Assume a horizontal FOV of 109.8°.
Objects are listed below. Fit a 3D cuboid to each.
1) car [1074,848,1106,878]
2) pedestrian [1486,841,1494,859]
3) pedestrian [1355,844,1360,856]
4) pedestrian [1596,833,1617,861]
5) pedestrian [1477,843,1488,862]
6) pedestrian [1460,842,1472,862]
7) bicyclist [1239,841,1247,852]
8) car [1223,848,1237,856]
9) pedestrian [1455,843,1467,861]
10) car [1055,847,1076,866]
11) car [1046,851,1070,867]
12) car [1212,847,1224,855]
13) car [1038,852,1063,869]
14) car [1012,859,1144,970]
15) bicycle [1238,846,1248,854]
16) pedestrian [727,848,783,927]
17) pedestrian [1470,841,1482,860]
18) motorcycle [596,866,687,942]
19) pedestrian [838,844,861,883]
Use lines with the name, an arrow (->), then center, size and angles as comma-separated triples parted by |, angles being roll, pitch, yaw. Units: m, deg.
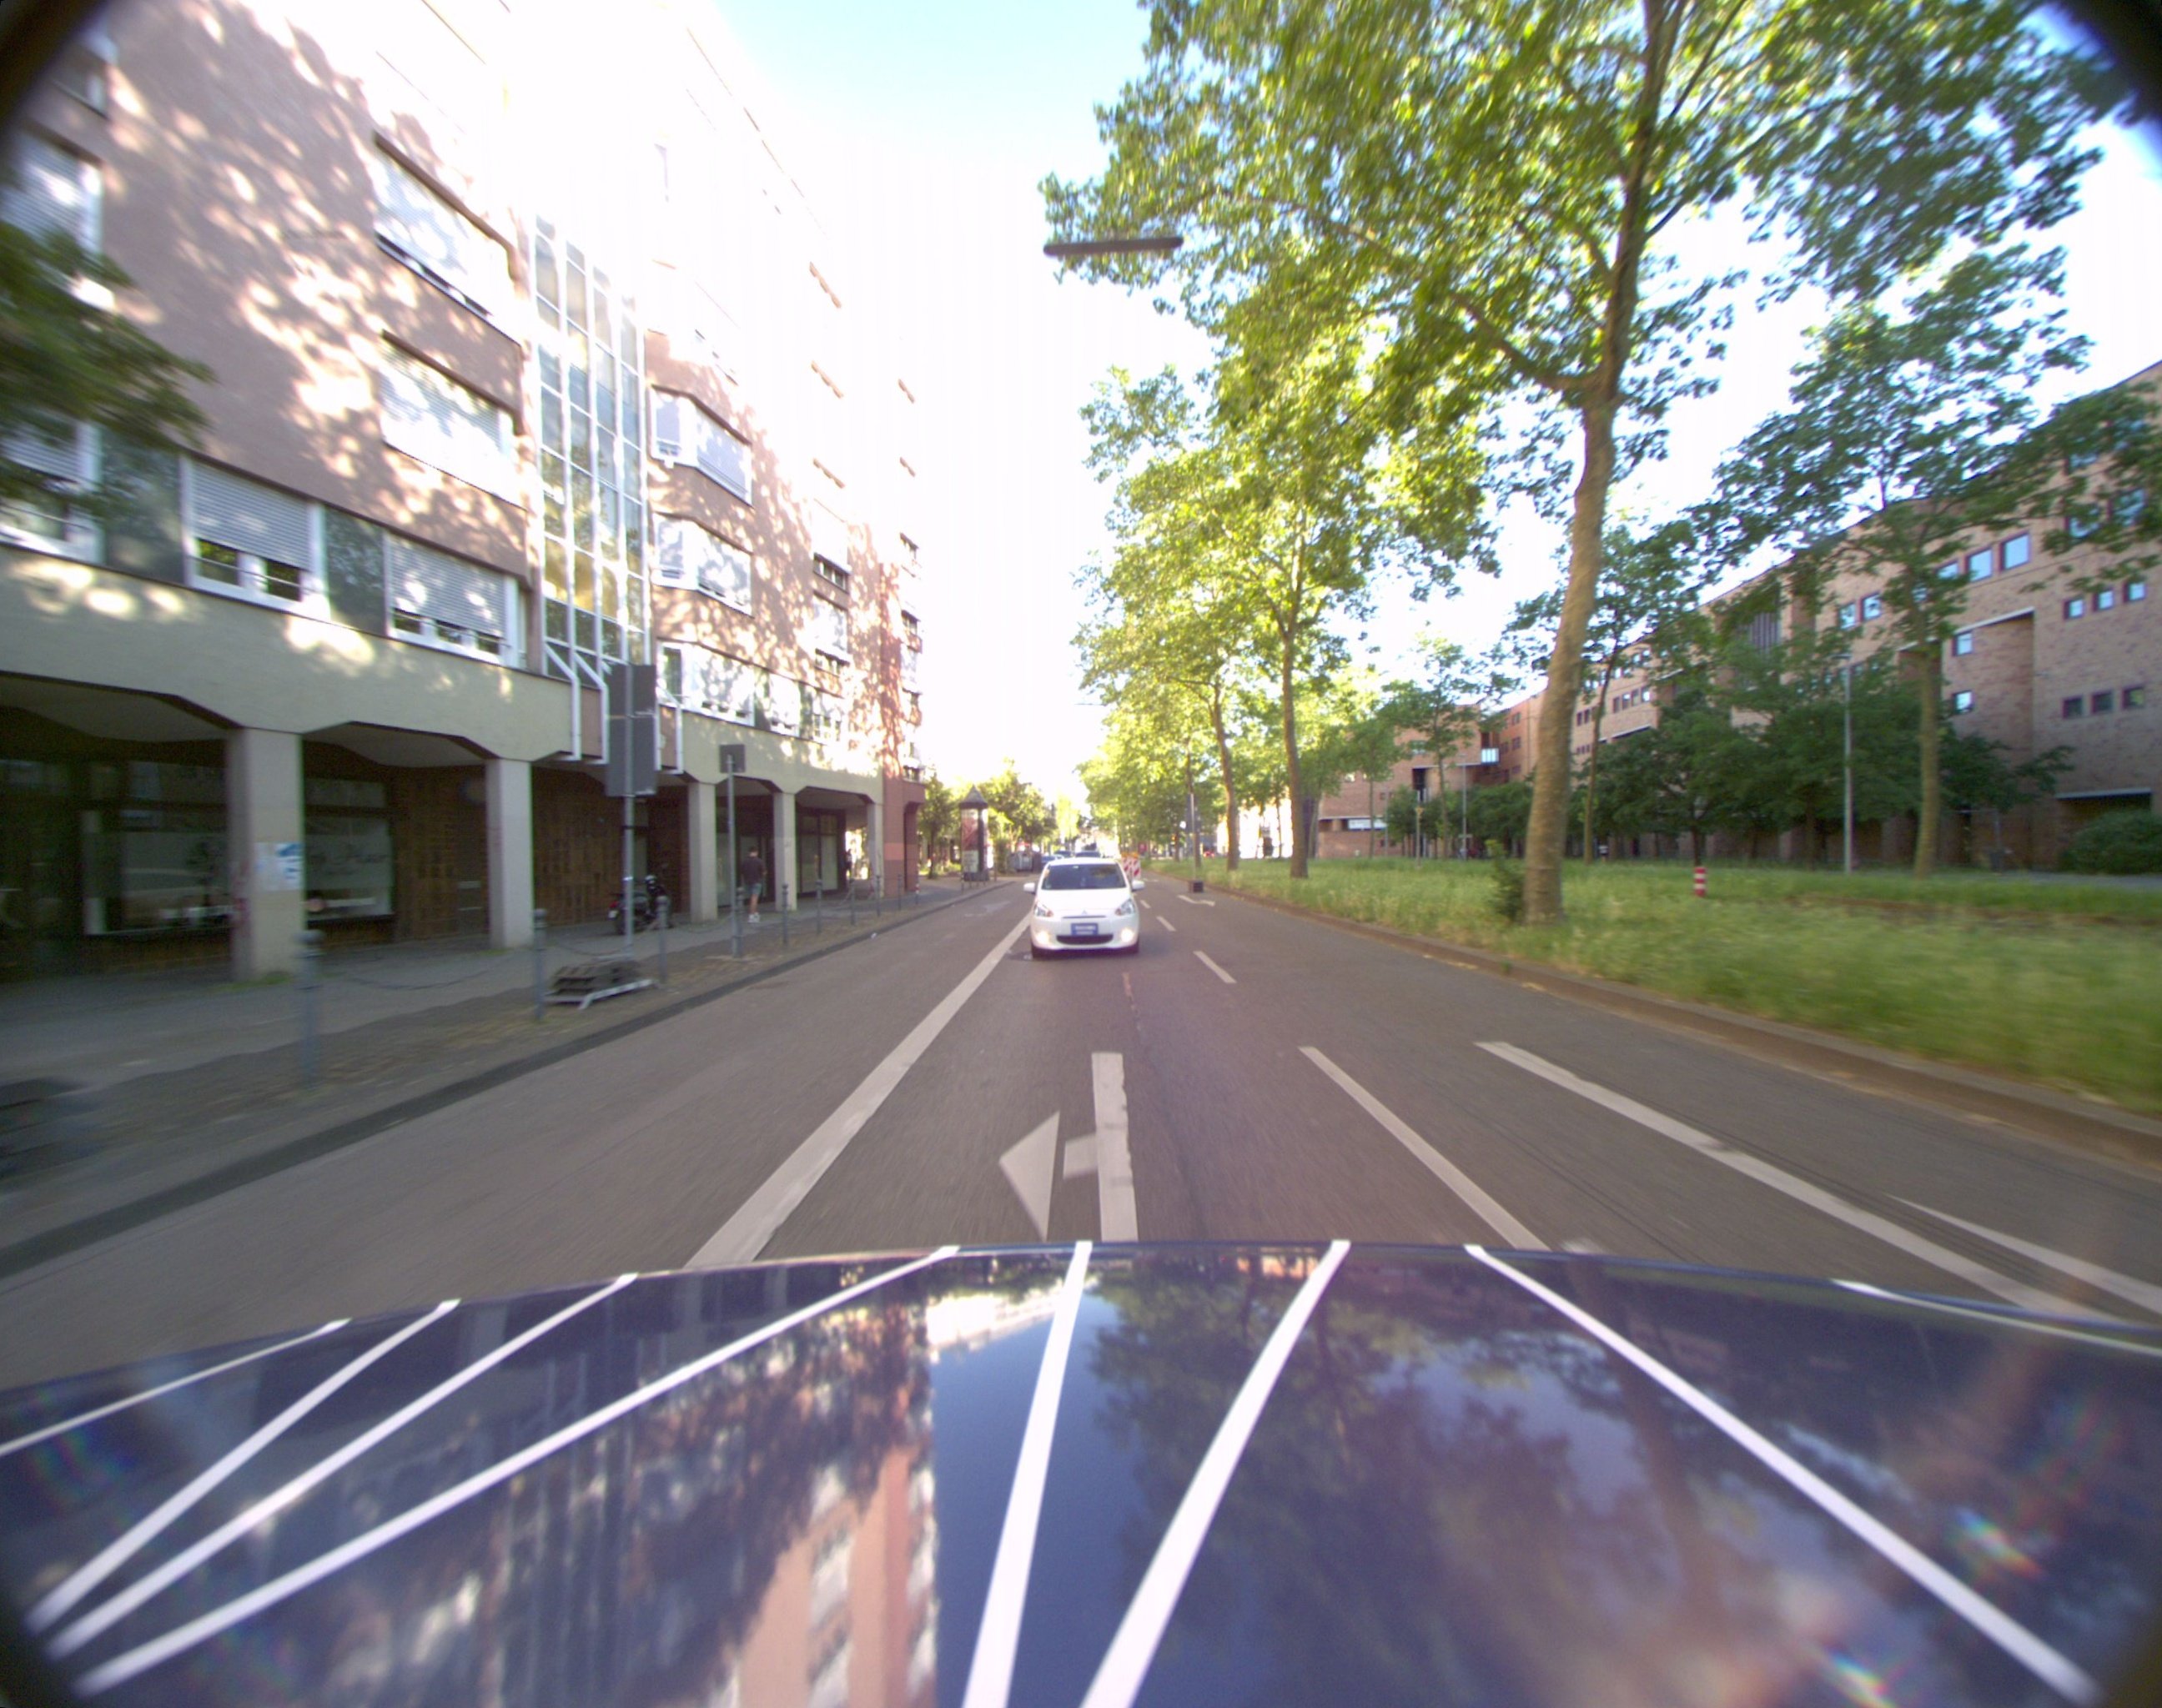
car -> 0.576, 0.505, 45.645 | 1.824, 1.630, 4.000 | -1, 1, 2
pedestrian -> 36.012, -0.346, 66.882 | 0.484, 1.497, 0.463 | -1, 1, 0
pedestrian -> 35.118, -0.472, 96.362 | 0.417, 1.535, 0.653 | -1, 1, 3
pedestrian -> 35.198, -0.485, 50.899 | 0.825, 1.821, 0.901 | -1, 1, 6
pedestrian -> 35.580, -0.163, 67.356 | 0.612, 1.670, 0.596 | -1, 1, 0
pedestrian -> 34.205, -0.199, 67.459 | 0.665, 1.712, 0.796 | -1, 1, 1
bicyclist -> 23.570, -1.091, 110.620 | 0.943, 1.562, 1.209 | -1, 1, 2
car -> 25.941, -0.351, 132.560 | 1.675, 1.421, 4.149 | -1, 0, 0
pedestrian -> 34.428, -0.162, 68.865 | 0.665, 1.607, 0.756 | -1, 1, 1
car -> -1.594, 0.233, 79.801 | 2.043, 1.932, 5.197 | 1, 0, 0
car -> -2.166, 0.474, 72.511 | 1.705, 1.457, 4.176 | 0, 0, 5
car -> 25.989, -0.548, 144.255 | 1.617, 1.421, 3.221 | -1, 0, 0
car -> -2.614, 0.556, 66.647 | 1.706, 1.475, 4.249 | 0, 0, 4
car -> 0.132, 0.873, 12.949 | 1.720, 1.442, 4.426 | -3, 0, 6
bicycle -> 23.577, -0.566, 110.538 | 0.959, 1.120, 2.436 | -1, 1, 2
pedestrian -> -7.330, 0.738, 17.102 | 0.782, 1.728, 0.837 | -1, 1, 10
pedestrian -> 34.977, -0.320, 67.346 | 0.665, 1.607, 0.756 | -1, 1, 1
motorcycle -> -8.694, 0.944, 15.138 | 0.489, 1.364, 2.090 | -1, 1, 2
pedestrian -> -11.790, 0.464, 38.715 | 0.820, 1.970, 0.846 | -2, 1, -43
